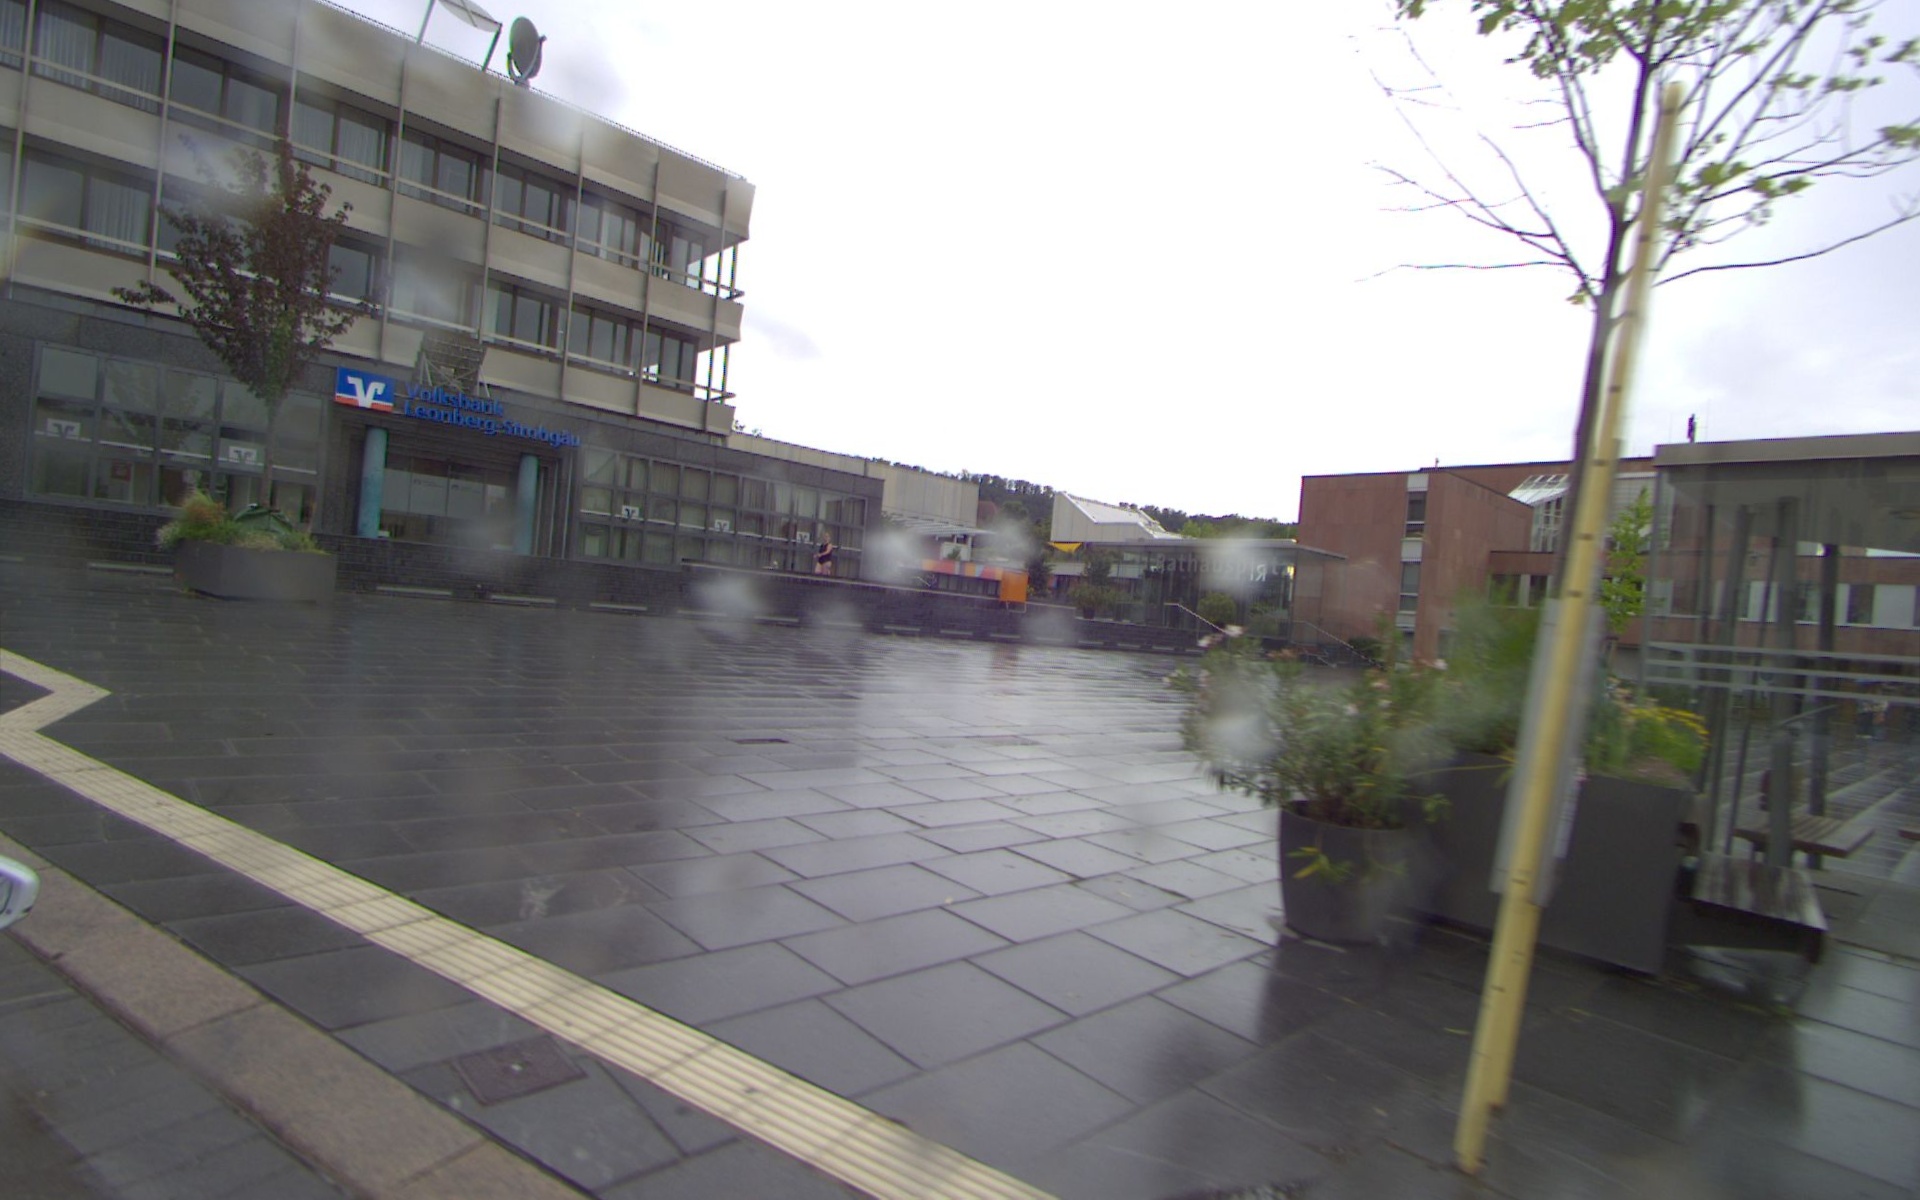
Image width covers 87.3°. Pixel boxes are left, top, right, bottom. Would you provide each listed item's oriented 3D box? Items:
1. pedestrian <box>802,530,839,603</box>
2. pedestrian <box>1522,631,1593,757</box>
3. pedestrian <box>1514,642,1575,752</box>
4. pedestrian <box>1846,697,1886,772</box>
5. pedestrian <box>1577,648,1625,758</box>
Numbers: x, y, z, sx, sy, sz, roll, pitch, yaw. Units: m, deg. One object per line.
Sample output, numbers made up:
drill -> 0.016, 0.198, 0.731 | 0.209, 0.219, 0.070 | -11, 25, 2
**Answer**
pedestrian -> -4.350, -1.036, 31.286 | 0.753, 2.175, 0.652 | 4, 2, -38
pedestrian -> 13.469, 2.108, 22.670 | 1.047, 2.719, 0.823 | 4, 2, -38
pedestrian -> 13.827, 2.278, 23.798 | 0.936, 2.471, 0.768 | 4, 2, -40
pedestrian -> 30.196, 4.461, 33.521 | 0.789, 2.338, 0.898 | 7, 2, 44
pedestrian -> 14.972, 2.392, 23.505 | 0.731, 2.471, 0.562 | 4, 2, -43
